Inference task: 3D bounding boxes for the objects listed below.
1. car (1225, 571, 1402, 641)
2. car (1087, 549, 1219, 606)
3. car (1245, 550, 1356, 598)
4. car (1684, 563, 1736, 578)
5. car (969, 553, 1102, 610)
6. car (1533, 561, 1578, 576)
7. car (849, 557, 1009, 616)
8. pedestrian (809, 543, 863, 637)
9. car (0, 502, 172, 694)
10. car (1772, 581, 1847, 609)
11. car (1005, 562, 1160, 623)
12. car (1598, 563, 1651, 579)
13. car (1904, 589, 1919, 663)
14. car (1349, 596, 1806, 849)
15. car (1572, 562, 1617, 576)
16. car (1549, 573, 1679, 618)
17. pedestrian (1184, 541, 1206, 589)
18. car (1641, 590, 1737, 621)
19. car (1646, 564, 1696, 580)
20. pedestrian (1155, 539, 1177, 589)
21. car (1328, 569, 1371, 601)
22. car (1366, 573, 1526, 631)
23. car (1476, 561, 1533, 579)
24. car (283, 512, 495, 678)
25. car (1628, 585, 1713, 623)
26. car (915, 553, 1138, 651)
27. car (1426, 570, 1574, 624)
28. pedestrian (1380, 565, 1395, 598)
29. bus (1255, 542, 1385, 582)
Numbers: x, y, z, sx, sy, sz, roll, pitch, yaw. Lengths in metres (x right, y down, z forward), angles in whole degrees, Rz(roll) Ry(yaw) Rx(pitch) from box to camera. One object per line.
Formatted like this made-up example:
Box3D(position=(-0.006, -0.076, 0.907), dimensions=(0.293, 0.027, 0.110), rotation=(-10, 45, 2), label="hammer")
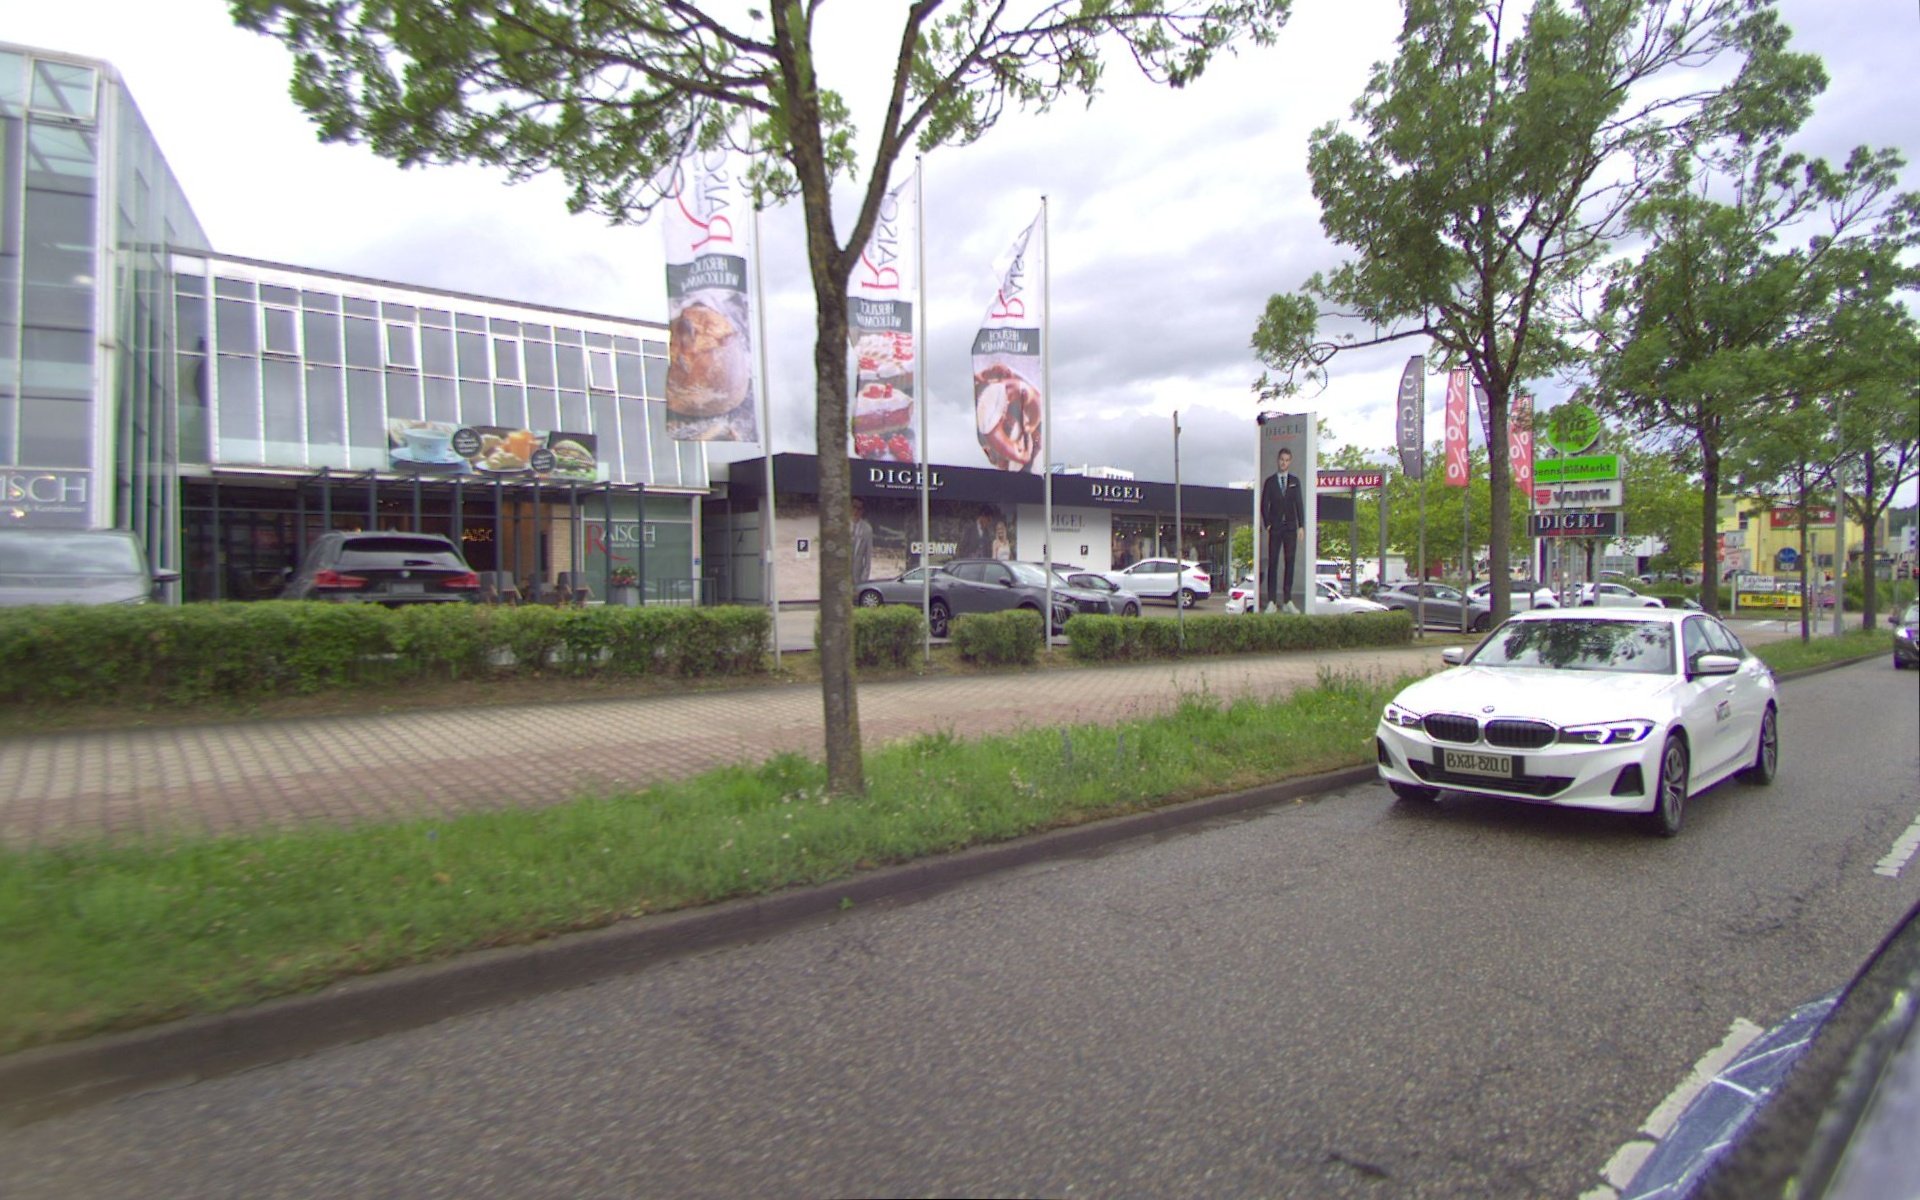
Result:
Box3D(position=(9.124, 0.112, 26.460), dimensions=(4.122, 1.490, 1.783), rotation=(4, 3, 14), label="car")
Box3D(position=(6.896, -0.843, 36.252), dimensions=(4.430, 1.701, 1.795), rotation=(3, 4, 13), label="car")
Box3D(position=(14.312, -1.123, 42.710), dimensions=(4.045, 1.766, 1.798), rotation=(3, 4, 7), label="car")
Box3D(position=(82.065, -3.213, 110.722), dimensions=(1.791, 1.601, 4.220), rotation=(0, 2, -39), label="car")
Box3D(position=(2.365, -0.608, 31.471), dimensions=(3.975, 1.495, 1.798), rotation=(3, 4, 8), label="car")
Box3D(position=(69.477, -3.665, 118.134), dimensions=(1.791, 1.601, 4.220), rotation=(0, 2, -39), label="car")
Box3D(position=(-0.868, -0.431, 29.729), dimensions=(4.424, 1.412, 1.797), rotation=(3, 4, 9), label="car")
Box3D(position=(-2.438, -0.189, 19.897), dimensions=(0.837, 1.812, 0.631), rotation=(0, -1, -45), label="pedestrian")
Box3D(position=(-9.325, -0.160, 10.388), dimensions=(1.794, 1.620, 4.184), rotation=(0, 4, -36), label="car")
Box3D(position=(60.090, -0.368, 71.685), dimensions=(3.981, 1.834, 1.743), rotation=(3, 2, 39), label="car")
Box3D(position=(3.359, -0.194, 27.413), dimensions=(4.047, 1.463, 1.766), rotation=(1, 3, -39), label="car")
Box3D(position=(65.304, -2.842, 99.453), dimensions=(1.768, 1.529, 3.996), rotation=(0, 2, -39), label="car")
Box3D(position=(22.831, 0.556, 22.846), dimensions=(4.144, 1.601, 1.797), rotation=(0, -1, -41), label="car")
Box3D(position=(5.040, 0.710, 7.980), dimensions=(4.462, 1.459, 1.806), rotation=(0, -1, -41), label="car")
Box3D(position=(75.825, -3.748, 121.003), dimensions=(1.791, 1.601, 4.220), rotation=(0, 2, -39), label="car")
Box3D(position=(27.767, -0.228, 43.070), dimensions=(4.238, 1.598, 1.742), rotation=(3, 3, 5), label="car")
Box3D(position=(10.069, -1.499, 43.402), dimensions=(0.646, 2.039, 0.612), rotation=(0, -1, -40), label="pedestrian")
Box3D(position=(39.154, 0.276, 54.415), dimensions=(1.716, 1.529, 3.989), rotation=(-4, 3, -44), label="car")
Box3D(position=(75.463, -2.998, 107.486), dimensions=(1.768, 1.529, 3.996), rotation=(0, 2, -39), label="car")
Box3D(position=(8.569, -1.479, 42.122), dimensions=(0.646, 2.039, 0.612), rotation=(0, -1, -40), label="pedestrian")
Box3D(position=(22.891, -0.926, 59.613), dimensions=(1.774, 1.528, 4.100), rotation=(4, 5, 14), label="car")
Box3D(position=(14.701, 0.041, 30.804), dimensions=(3.951, 1.454, 1.741), rotation=(3, 3, 8), label="car")
Box3D(position=(59.898, -3.303, 111.361), dimensions=(1.998, 1.820, 5.092), rotation=(0, 2, -39), label="car")
Box3D(position=(-7.054, -0.190, 12.279), dimensions=(1.766, 1.620, 4.184), rotation=(0, 4, -36), label="car")
Box3D(position=(33.246, 0.173, 47.480), dimensions=(1.715, 1.599, 3.863), rotation=(2, 0, 10), label="car")
Box3D(position=(1.152, -0.037, 19.244), dimensions=(1.829, 1.490, 4.180), rotation=(0, 4, -40), label="car")
Box3D(position=(18.830, -0.137, 35.469), dimensions=(4.113, 1.598, 1.738), rotation=(3, 3, 12), label="car")
Box3D(position=(22.154, -0.938, 52.434), dimensions=(0.556, 1.702, 0.473), rotation=(1, 0, -27), label="pedestrian")
Box3D(position=(36.489, -3.702, 101.893), dimensions=(17.021, 3.557, 4.102), rotation=(0, 2, -39), label="bus")
